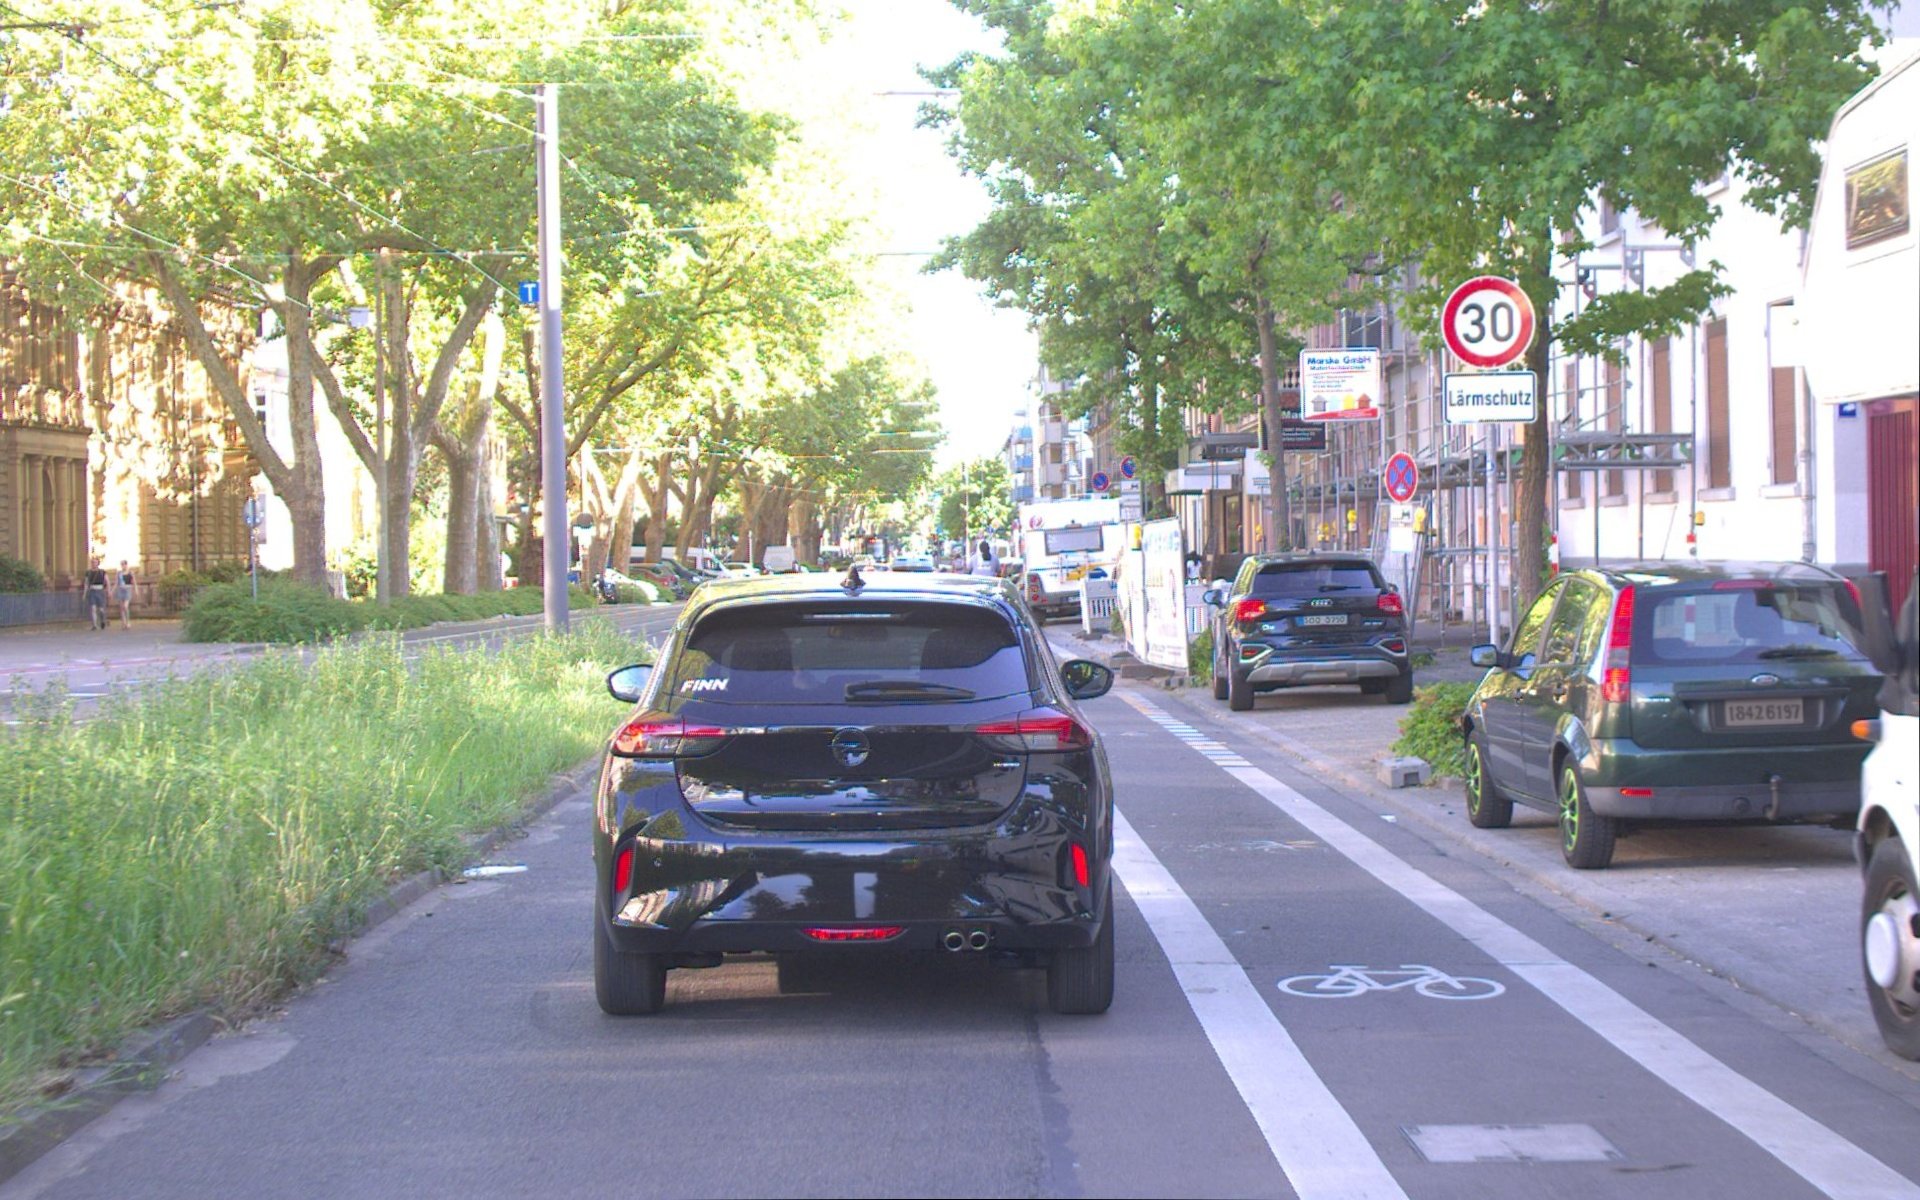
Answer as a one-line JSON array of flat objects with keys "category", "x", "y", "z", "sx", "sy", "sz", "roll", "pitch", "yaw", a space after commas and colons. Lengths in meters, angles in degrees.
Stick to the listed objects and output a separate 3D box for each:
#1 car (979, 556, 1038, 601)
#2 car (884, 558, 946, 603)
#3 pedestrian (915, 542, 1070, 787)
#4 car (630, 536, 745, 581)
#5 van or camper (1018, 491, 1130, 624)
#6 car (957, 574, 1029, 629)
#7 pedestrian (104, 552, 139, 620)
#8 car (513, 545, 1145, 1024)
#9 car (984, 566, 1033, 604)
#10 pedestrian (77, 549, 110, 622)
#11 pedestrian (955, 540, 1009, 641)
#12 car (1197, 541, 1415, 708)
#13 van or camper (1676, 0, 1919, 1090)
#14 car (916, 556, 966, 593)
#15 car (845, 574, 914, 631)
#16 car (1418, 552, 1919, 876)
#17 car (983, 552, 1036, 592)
[{"category": "car", "x": 1.632, "y": -0.717, "z": 114.989, "sx": 1.905, "sy": 1.420, "sz": 4.215, "roll": -1, "pitch": 1, "yaw": 1}, {"category": "car", "x": -1.472, "y": -0.663, "z": 114.550, "sx": 1.905, "sy": 1.420, "sz": 4.215, "roll": -1, "pitch": 1, "yaw": 1}, {"category": "pedestrian", "x": 0.203, "y": 0.408, "z": 22.535, "sx": 0.970, "sy": 1.557, "sz": 0.971, "roll": -1, "pitch": 1, "yaw": -1}, {"category": "car", "x": -14.030, "y": -2.149, "z": 177.094, "sx": 5.687, "sy": 2.190, "sz": 2.289, "roll": -1, "pitch": 1, "yaw": 1}, {"category": "van or camper", "x": 2.647, "y": -1.005, "z": 80.898, "sx": 2.486, "sy": 2.983, "sz": 5.434, "roll": 1, "pitch": 1, "yaw": 1}, {"category": "car", "x": 0.939, "y": 0.031, "z": 95.469, "sx": 1.905, "sy": 1.420, "sz": 4.215, "roll": -1, "pitch": 1, "yaw": 1}, {"category": "pedestrian", "x": -20.076, "y": -0.334, "z": 82.284, "sx": 0.658, "sy": 1.616, "sz": 0.615, "roll": 1, "pitch": 1, "yaw": -1}, {"category": "car", "x": -0.353, "y": 0.531, "z": 12.590, "sx": 1.905, "sy": 1.420, "sz": 4.215, "roll": -1, "pitch": 1, "yaw": 1}, {"category": "car", "x": 1.963, "y": -0.623, "z": 138.377, "sx": 1.905, "sy": 1.420, "sz": 4.215, "roll": -1, "pitch": 1, "yaw": 1}, {"category": "pedestrian", "x": -20.741, "y": -0.348, "z": 82.282, "sx": 0.618, "sy": 1.727, "sz": 0.596, "roll": 1, "pitch": 1, "yaw": -1}, {"category": "pedestrian", "x": 0.442, "y": -0.201, "z": 69.182, "sx": 1.036, "sy": 2.017, "sz": 1.212, "roll": -1, "pitch": 1, "yaw": -1}, {"category": "car", "x": 3.421, "y": 0.204, "z": 34.604, "sx": 1.790, "sy": 1.505, "sz": 3.874, "roll": -3, "pitch": 1, "yaw": 1}, {"category": "van or camper", "x": 3.697, "y": -0.282, "z": 7.612, "sx": 2.375, "sy": 3.114, "sz": 7.551, "roll": -4, "pitch": 1, "yaw": -1}, {"category": "car", "x": -0.760, "y": -1.059, "z": 140.318, "sx": 1.905, "sy": 1.420, "sz": 4.215, "roll": -1, "pitch": 1, "yaw": 1}, {"category": "car", "x": -2.328, "y": 0.060, "z": 100.045, "sx": 1.790, "sy": 1.505, "sz": 3.874, "roll": -3, "pitch": 1, "yaw": 1}, {"category": "car", "x": 3.546, "y": 0.489, "z": 17.633, "sx": 1.685, "sy": 1.415, "sz": 4.049, "roll": -2, "pitch": 1, "yaw": -2}, {"category": "car", "x": 1.848, "y": -1.056, "z": 127.335, "sx": 1.905, "sy": 1.420, "sz": 4.215, "roll": -1, "pitch": 1, "yaw": 1}]
